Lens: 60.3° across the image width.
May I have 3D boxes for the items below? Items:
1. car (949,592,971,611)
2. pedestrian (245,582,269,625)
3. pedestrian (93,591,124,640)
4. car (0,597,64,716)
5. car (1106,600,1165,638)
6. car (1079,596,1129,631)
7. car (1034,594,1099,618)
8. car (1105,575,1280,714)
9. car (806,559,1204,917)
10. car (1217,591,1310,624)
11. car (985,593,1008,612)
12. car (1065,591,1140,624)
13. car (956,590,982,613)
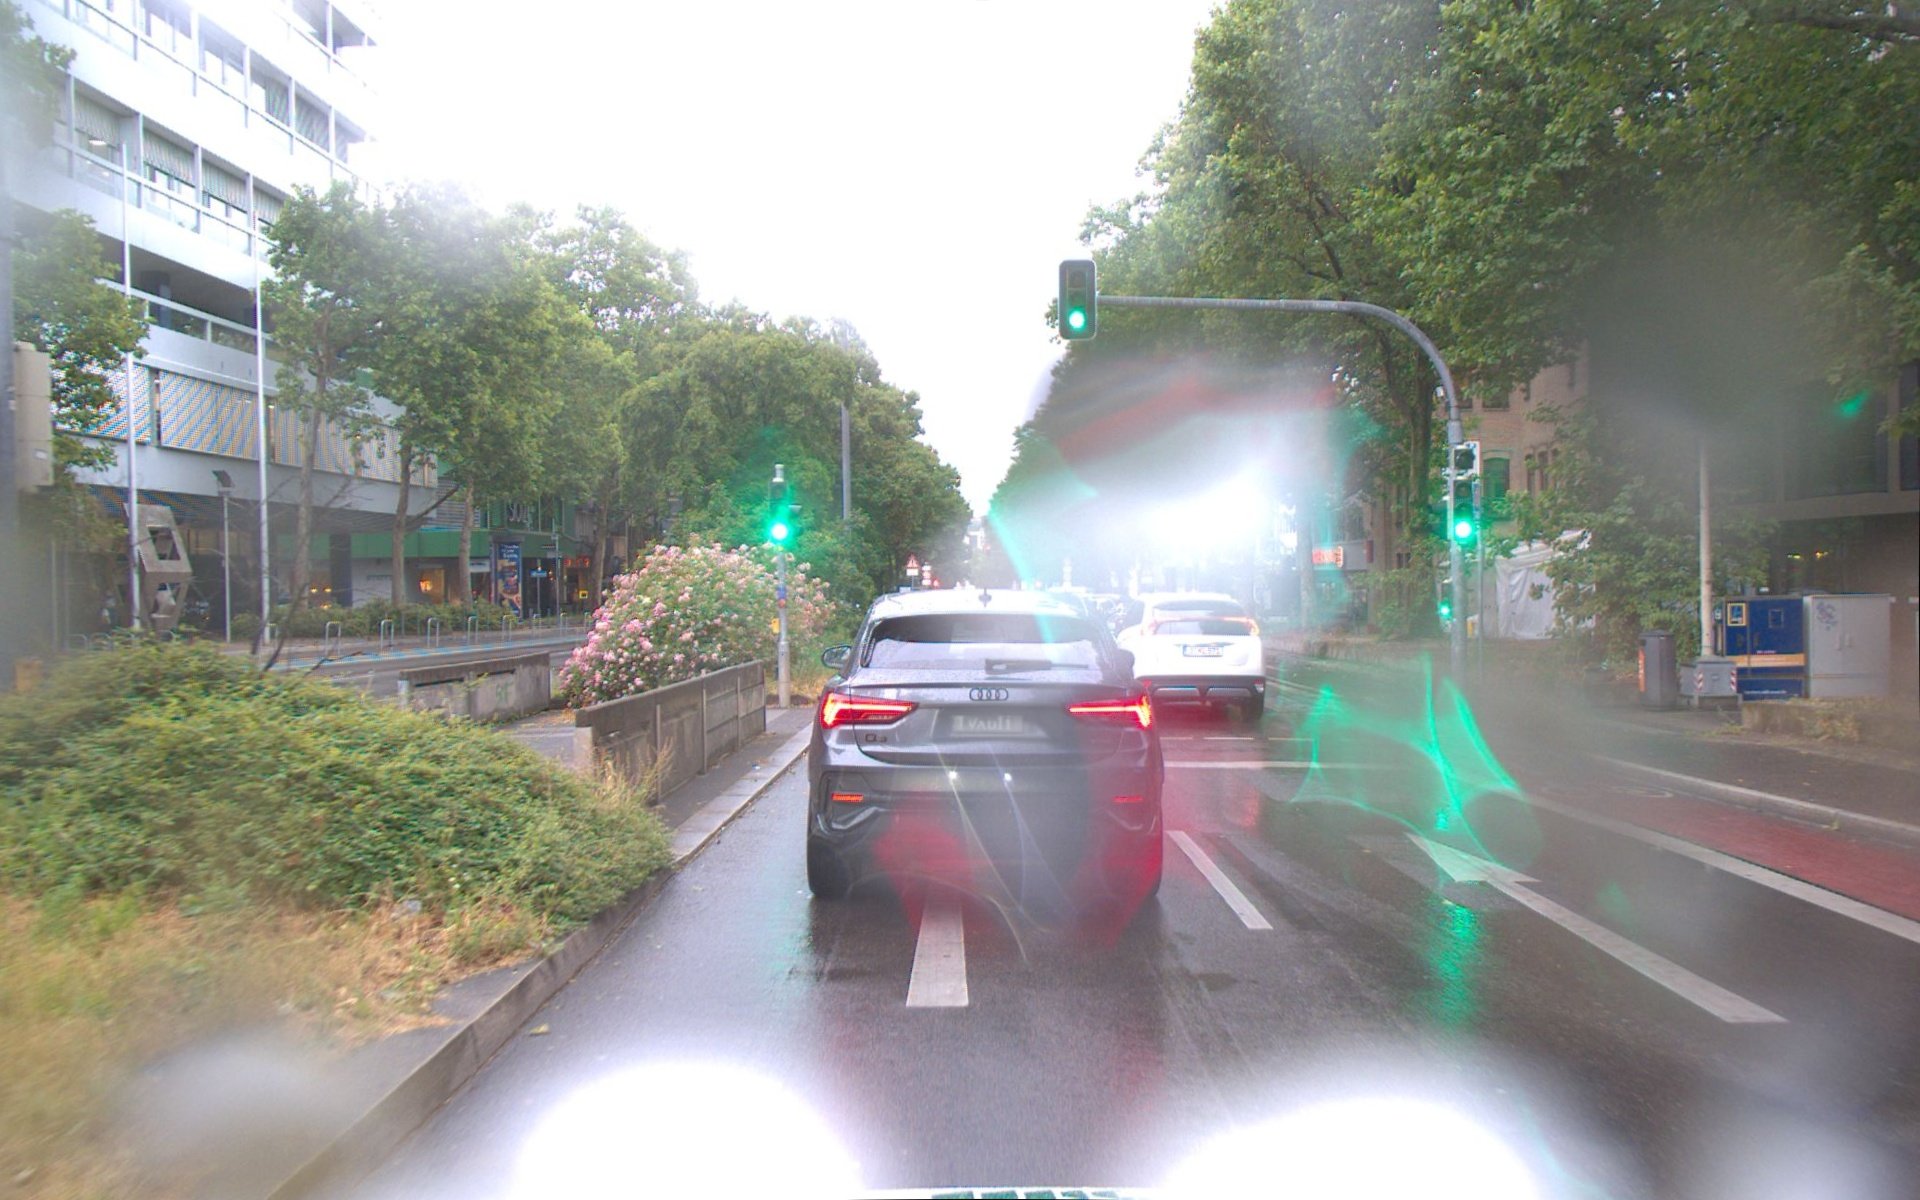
[{"bbox_3d":[-0.012,0.162,147.592,1.857,1.627,3.938,1,-1,-1],"label":"car"},{"bbox_3d":[-25.113,0.134,59.058,0.597,1.508,0.574,1,-1,-3],"label":"pedestrian"},{"bbox_3d":[-24.484,0.452,47.573,0.625,1.404,0.474,1,-1,-3],"label":"pedestrian"},{"bbox_3d":[-14.011,0.737,21.505,1.869,1.612,4.748,1,-1,4],"label":"car"},{"bbox_3d":[7.053,0.741,66.875,1.835,1.446,4.611,1,0,0],"label":"car"},{"bbox_3d":[6.731,0.636,77.659,1.693,1.599,4.069,1,-1,-4],"label":"car"},{"bbox_3d":[8.092,0.460,125.528,4.549,1.736,1.997,1,-1,28],"label":"car"},{"bbox_3d":[3.130,0.586,22.976,1.840,1.727,3.999,1,-1,0],"label":"car"},{"bbox_3d":[0.172,0.634,9.547,1.812,1.630,3.999,0,0,-1],"label":"car"},{"bbox_3d":[10.451,0.255,56.918,2.831,1.093,1.452,1,-1,31],"label":"car"},{"bbox_3d":[3.298,0.259,149.273,1.953,1.680,4.000,1,-1,0],"label":"car"},{"bbox_3d":[9.278,0.488,107.644,4.518,2.049,1.959,1,-1,38],"label":"car"},{"bbox_3d":[0.678,0.109,131.640,1.953,1.757,3.999,1,-1,-1],"label":"car"}]
